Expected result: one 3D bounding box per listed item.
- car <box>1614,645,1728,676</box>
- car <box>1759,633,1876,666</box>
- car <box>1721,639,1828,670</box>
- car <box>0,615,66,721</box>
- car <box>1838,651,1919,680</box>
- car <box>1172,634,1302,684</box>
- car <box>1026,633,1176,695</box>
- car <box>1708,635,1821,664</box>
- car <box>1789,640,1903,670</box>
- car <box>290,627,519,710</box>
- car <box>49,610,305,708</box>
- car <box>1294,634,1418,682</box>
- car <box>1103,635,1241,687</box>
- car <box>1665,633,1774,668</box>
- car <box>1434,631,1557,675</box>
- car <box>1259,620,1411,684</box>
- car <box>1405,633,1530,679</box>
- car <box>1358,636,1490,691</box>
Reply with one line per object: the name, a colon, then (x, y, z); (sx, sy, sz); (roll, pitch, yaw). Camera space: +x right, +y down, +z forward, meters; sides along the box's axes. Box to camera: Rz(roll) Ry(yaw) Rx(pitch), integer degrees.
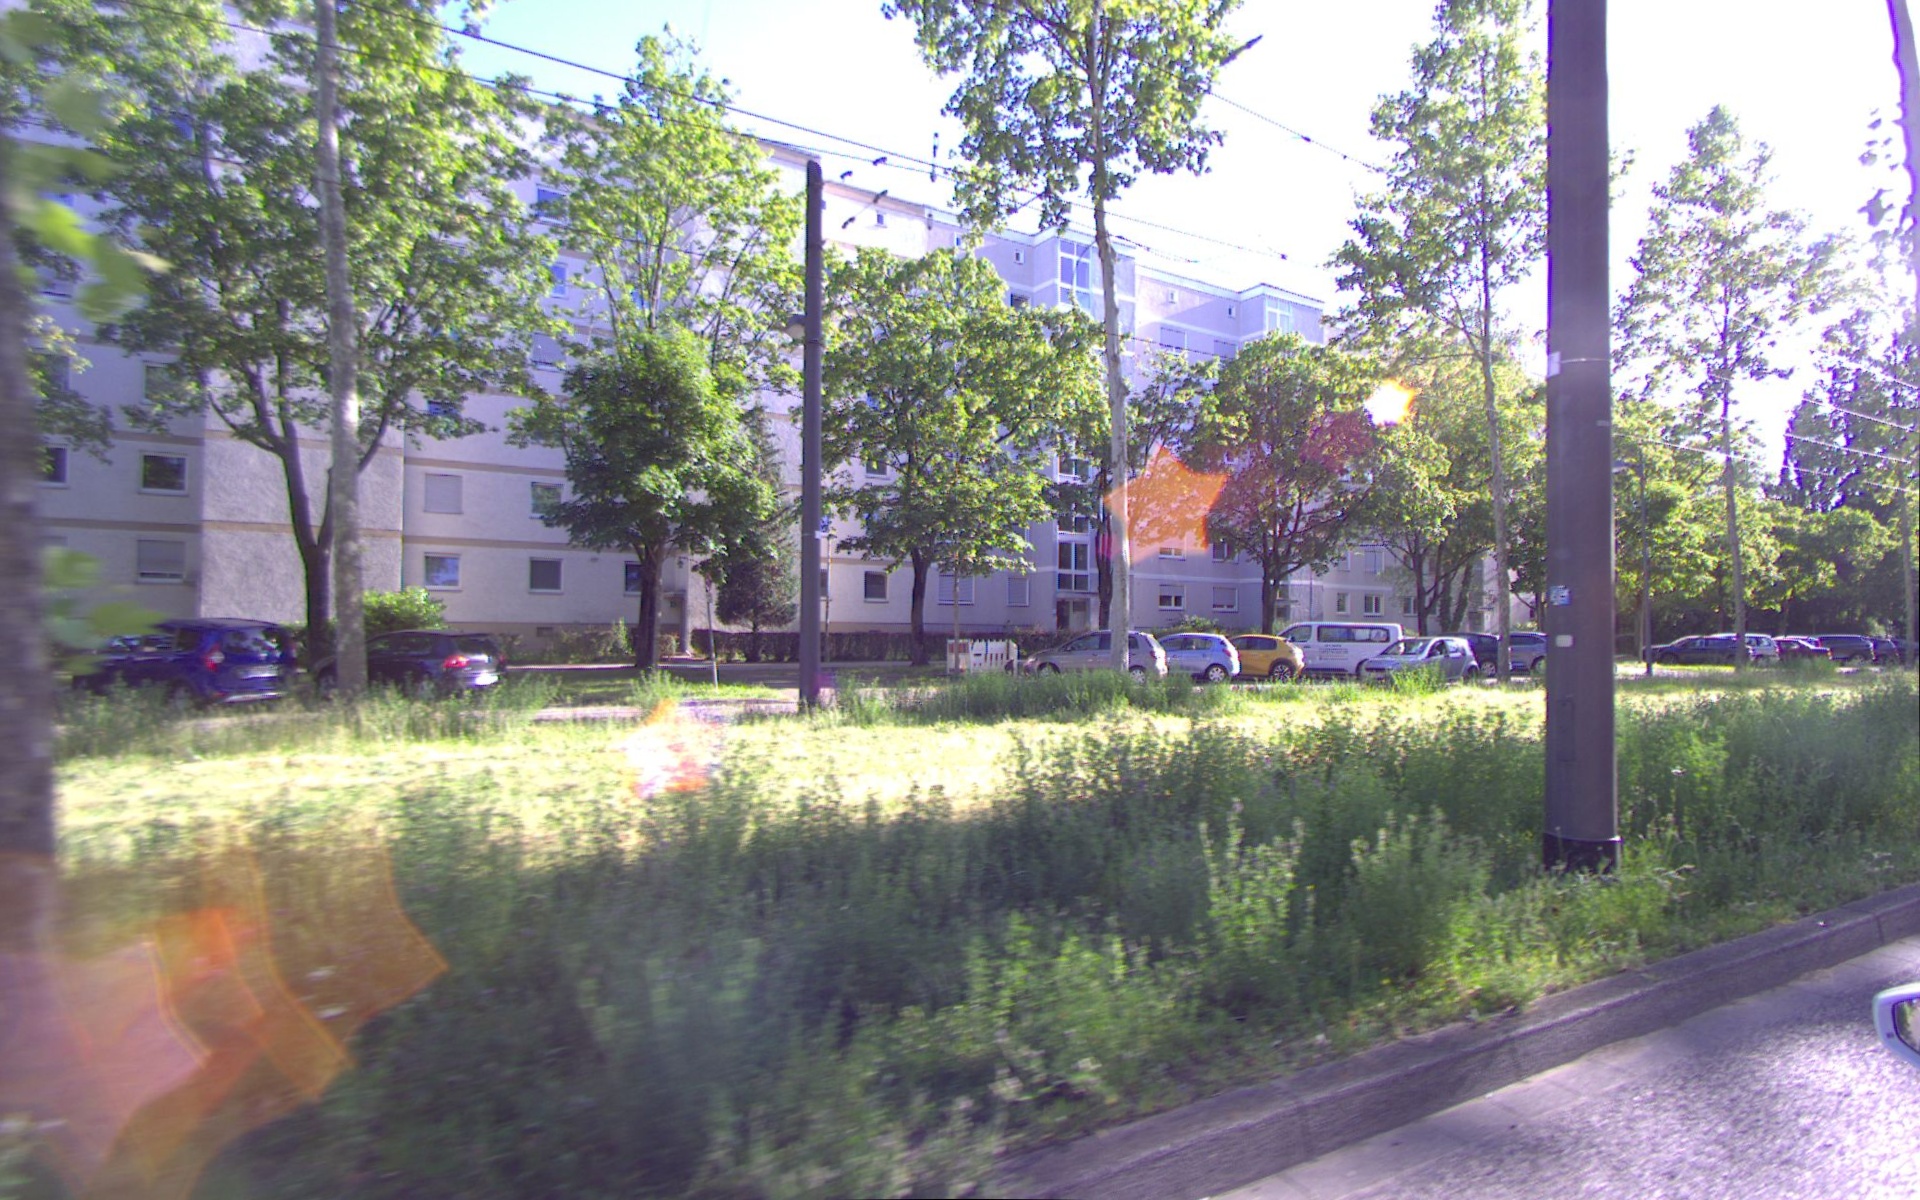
car: (33.669, 2.858, 47.697); (4.050, 1.355, 1.796); (0, -1, 18)
car: (45.927, 2.654, 53.921); (4.397, 1.697, 1.796); (0, -2, 18)
car: (41.401, 2.765, 51.156); (3.843, 1.507, 1.796); (0, -2, 18)
car: (-16.986, 1.080, 16.451); (4.003, 1.668, 1.652); (0, -2, 17)
car: (53.543, 3.763, 57.616); (4.397, 1.589, 1.796); (0, -2, 18)
car: (8.999, 1.882, 32.611); (4.004, 1.451, 1.579); (0, 0, 19)
car: (4.060, 1.797, 28.853); (4.004, 1.667, 1.652); (0, -2, 19)
car: (42.532, 2.605, 53.236); (4.402, 1.501, 1.617); (-1, -2, 25)
car: (49.196, 3.053, 55.867); (4.397, 1.589, 1.796); (0, -2, 18)
car: (-11.391, 1.370, 20.670); (4.002, 1.496, 1.652); (0, 2, 14)
car: (-14.590, 1.054, 18.760); (4.003, 1.668, 1.652); (-1, 1, 15)
car: (14.220, 2.035, 36.127); (4.009, 1.451, 1.577); (2, 1, 27)
car: (6.525, 1.826, 30.900); (4.004, 1.502, 1.652); (0, -2, 19)
car: (37.495, 2.478, 49.671); (3.900, 1.697, 1.788); (0, -2, 18)
car: (21.007, 2.054, 39.589); (4.005, 1.628, 1.995); (-1, -1, 21)
car: (12.673, 1.722, 34.081); (4.706, 2.033, 1.891); (0, 0, 23)
car: (18.730, 2.032, 37.204); (4.009, 1.551, 1.816); (-1, -1, 27)
car: (13.542, 1.828, 29.286); (3.805, 1.505, 1.638); (2, -3, -30)
